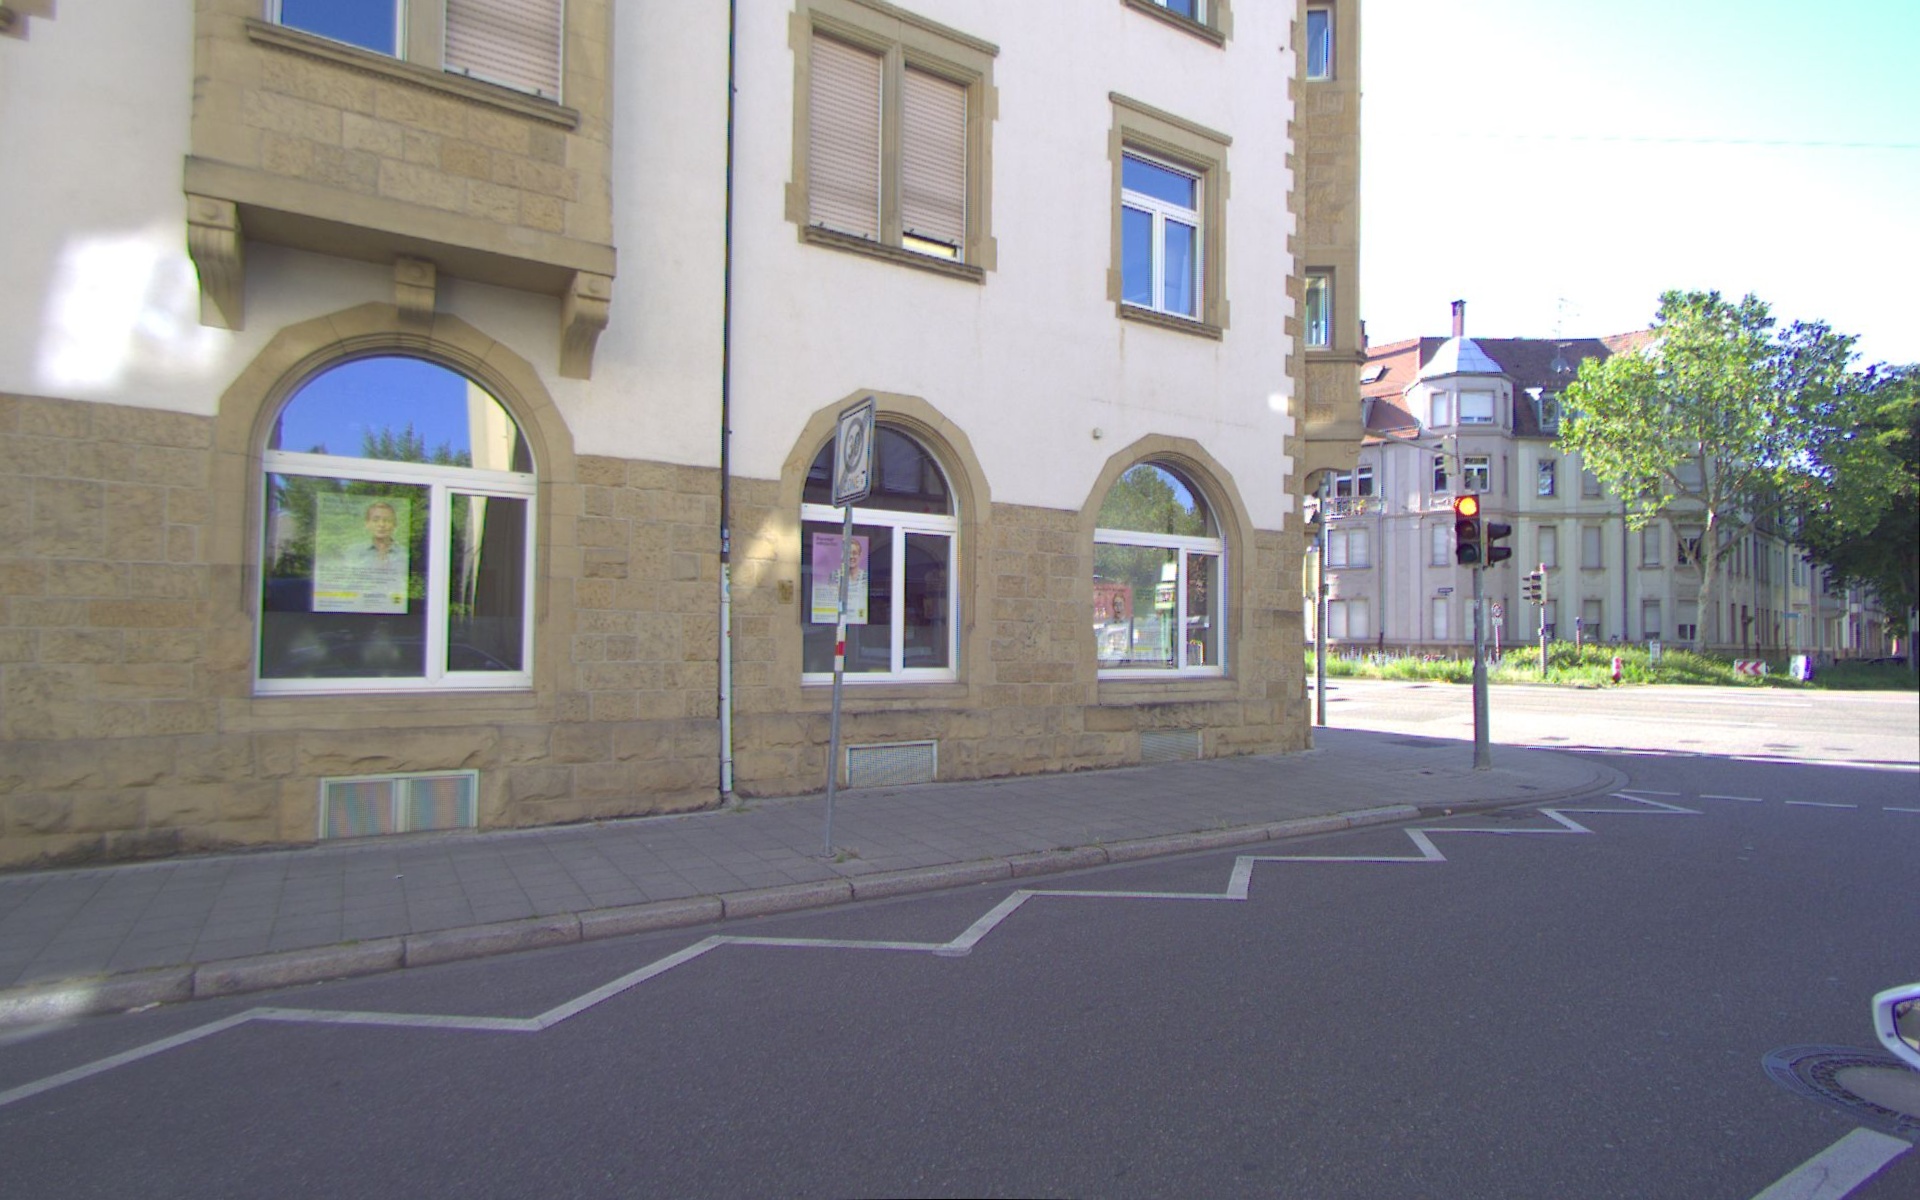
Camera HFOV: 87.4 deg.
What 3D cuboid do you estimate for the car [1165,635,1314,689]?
[{"bbox_3d":[8.396,1.839,30.359,3.944,1.336,1.812,2,-1,43],"label":"car"}]

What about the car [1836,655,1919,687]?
[{"bbox_3d":[46.150,3.498,49.894,3.943,1.505,1.673,-2,-3,42],"label":"car"}]
